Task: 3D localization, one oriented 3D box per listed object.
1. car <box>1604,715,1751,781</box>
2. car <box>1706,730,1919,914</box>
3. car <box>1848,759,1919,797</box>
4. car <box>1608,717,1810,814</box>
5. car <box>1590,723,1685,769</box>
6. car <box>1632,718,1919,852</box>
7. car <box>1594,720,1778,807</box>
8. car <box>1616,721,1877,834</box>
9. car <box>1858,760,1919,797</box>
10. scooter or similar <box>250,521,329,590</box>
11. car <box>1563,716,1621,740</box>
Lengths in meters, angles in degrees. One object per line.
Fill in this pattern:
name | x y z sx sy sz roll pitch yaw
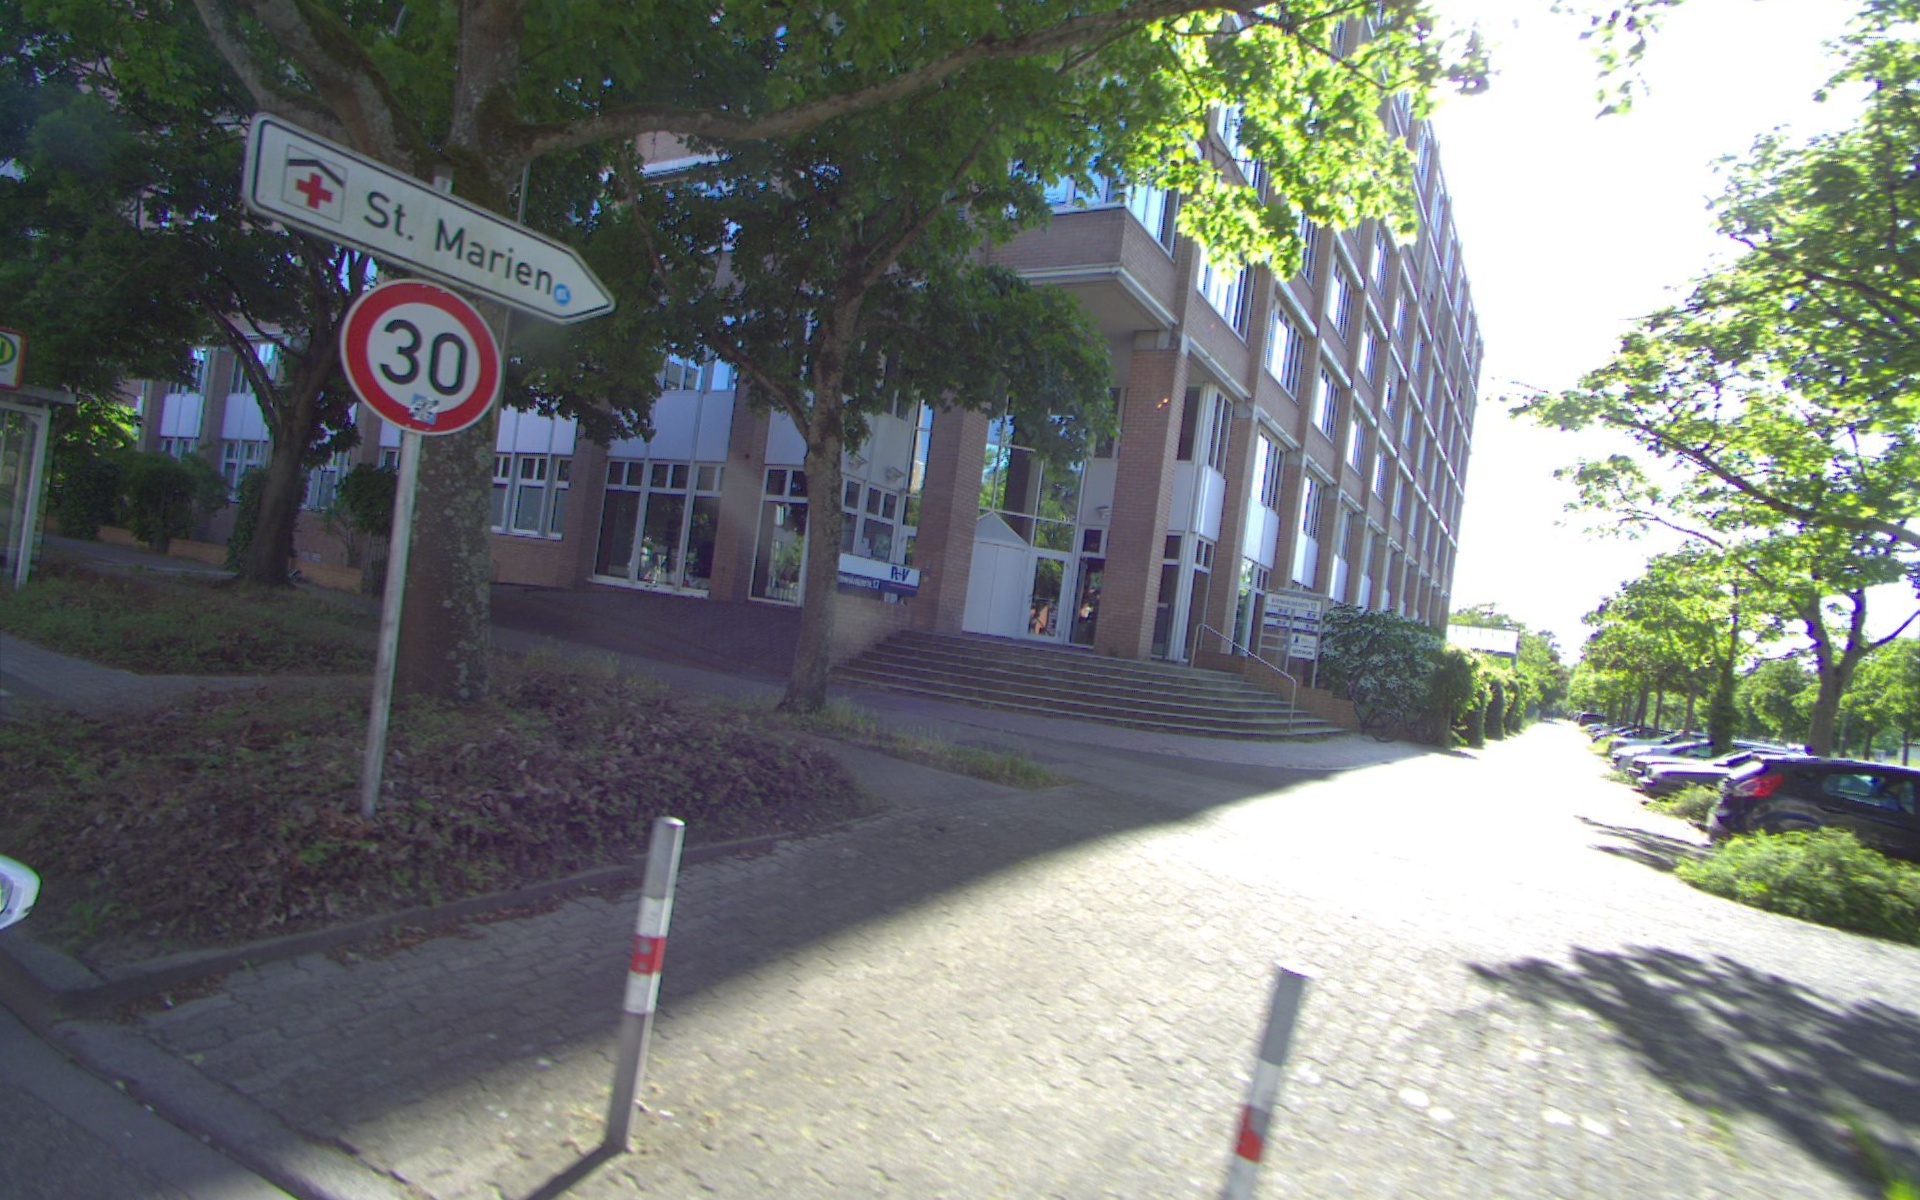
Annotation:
car | 24.411 5.021 34.413 3.845 1.520 1.534 7 -1 32
car | 10.061 2.402 10.135 3.854 1.479 1.654 8 -1 34
car | 48.787 9.304 52.102 3.842 1.461 1.535 6 -2 29
car | 19.494 4.265 26.410 3.933 1.583 1.625 10 0 32
car | 35.172 7.560 52.339 3.844 1.520 1.534 10 0 32
car | 14.065 3.085 17.130 4.205 1.478 1.690 7 -1 35
car | 20.408 4.566 28.482 3.933 1.520 1.534 10 0 32
car | 16.259 3.636 21.078 3.931 1.383 1.627 10 -1 29
car | 46.271 8.790 48.657 3.842 1.330 1.535 7 -1 29
scooter or similar | -15.320 -1.027 22.980 1.774 1.340 0.550 7 -2 27
car | 52.264 10.593 83.272 3.843 1.259 1.534 8 -1 31
